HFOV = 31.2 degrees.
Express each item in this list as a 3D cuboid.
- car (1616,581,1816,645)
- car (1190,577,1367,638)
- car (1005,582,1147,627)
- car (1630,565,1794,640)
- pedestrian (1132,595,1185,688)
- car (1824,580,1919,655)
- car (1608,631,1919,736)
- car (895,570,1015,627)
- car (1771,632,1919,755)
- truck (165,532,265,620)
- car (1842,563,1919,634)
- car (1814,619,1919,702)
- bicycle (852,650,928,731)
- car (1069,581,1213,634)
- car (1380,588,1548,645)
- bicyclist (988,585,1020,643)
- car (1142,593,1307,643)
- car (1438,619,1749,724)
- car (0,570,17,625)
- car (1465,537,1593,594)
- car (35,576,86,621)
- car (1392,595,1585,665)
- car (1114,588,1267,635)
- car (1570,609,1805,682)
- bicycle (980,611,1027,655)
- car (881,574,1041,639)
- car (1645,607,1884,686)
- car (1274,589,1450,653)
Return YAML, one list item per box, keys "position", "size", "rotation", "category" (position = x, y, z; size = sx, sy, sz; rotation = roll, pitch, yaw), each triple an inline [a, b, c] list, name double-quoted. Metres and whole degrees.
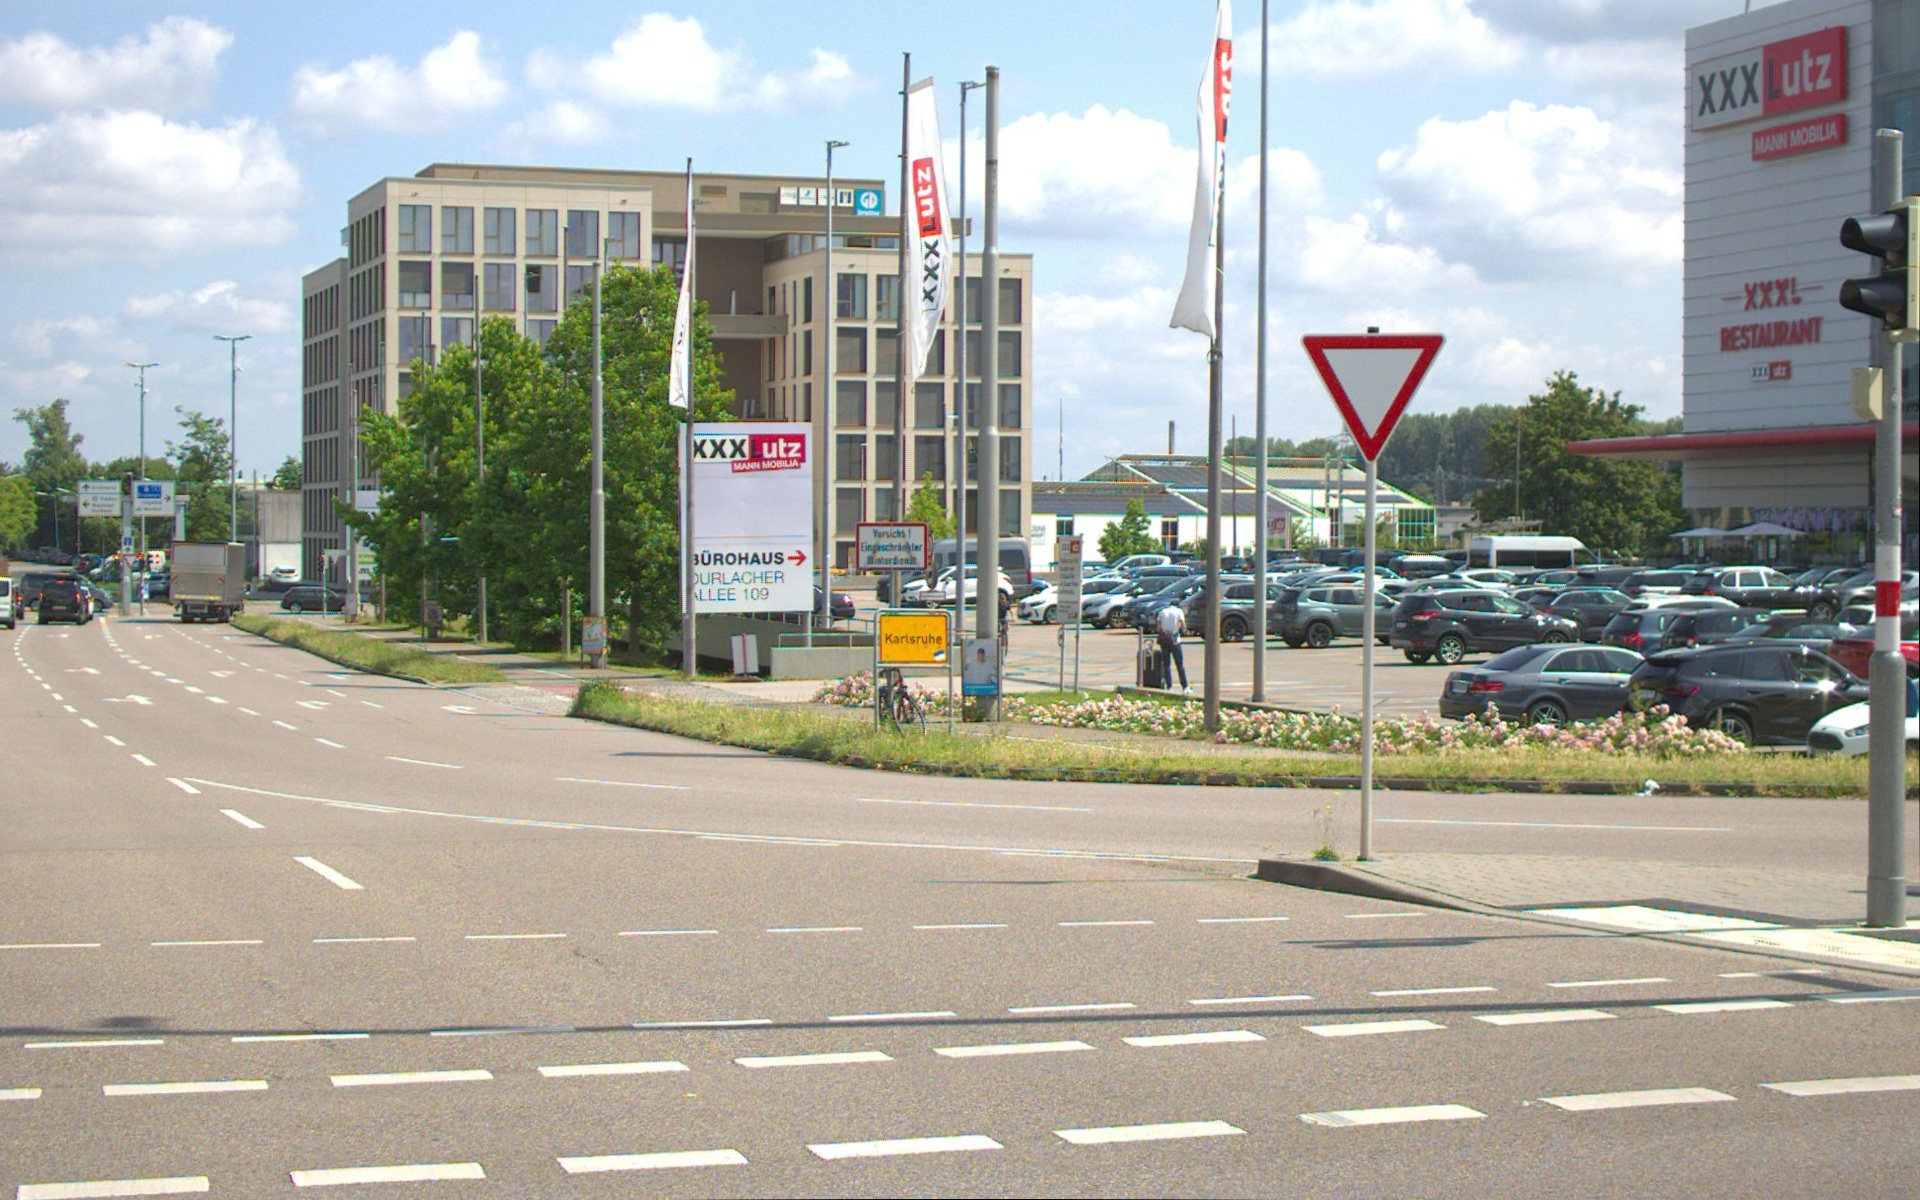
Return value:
- position: [17.968, 0.306, 81.701]
  size: [4.288, 1.422, 1.760]
  rotation: [0, 2, -16]
  category: "car"
- position: [8.676, 0.185, 93.826]
  size: [4.357, 1.569, 2.031]
  rotation: [-1, 1, -17]
  category: "car"
- position: [3.758, 0.133, 111.415]
  size: [4.182, 1.384, 1.893]
  rotation: [-1, 1, -19]
  category: "car"
- position: [21.195, 0.060, 96.899]
  size: [3.985, 2.007, 2.001]
  rotation: [1, 1, -16]
  category: "car"
- position: [3.894, 0.811, 67.494]
  size: [0.870, 1.776, 0.784]
  rotation: [1, 1, 14]
  category: "pedestrian"
- position: [20.505, 0.394, 72.275]
  size: [4.148, 1.503, 1.826]
  rotation: [1, 1, -16]
  category: "car"
- position: [11.573, 1.180, 48.610]
  size: [4.357, 1.412, 1.857]
  rotation: [1, 0, -16]
  category: "car"
- position: [-0.177, -0.053, 126.042]
  size: [3.986, 2.007, 2.001]
  rotation: [-1, 1, -16]
  category: "car"
- position: [12.740, 1.147, 43.807]
  size: [4.357, 1.435, 1.797]
  rotation: [-1, 1, -16]
  category: "car"
- position: [-34.906, -1.145, 161.386]
  size: [3.129, 3.927, 8.859]
  rotation: [1, 1, -3]
  category: "truck"
- position: [28.148, -0.033, 100.718]
  size: [3.985, 2.007, 2.001]
  rotation: [1, 1, -16]
  category: "car"
- position: [17.595, 1.043, 61.054]
  size: [4.357, 1.358, 1.847]
  rotation: [-1, 1, -14]
  category: "car"
- position: [-0.863, 1.095, 41.993]
  size: [0.517, 0.949, 1.544]
  rotation: [1, -1, -17]
  category: "bicycle"
- position: [5.633, 0.240, 106.899]
  size: [3.986, 1.565, 2.001]
  rotation: [1, 0, -18]
  category: "car"
- position: [14.013, 0.452, 95.603]
  size: [4.238, 1.459, 1.761]
  rotation: [1, 1, -17]
  category: "car"
- position: [1.100, 0.349, 85.462]
  size: [0.615, 1.408, 0.715]
  rotation: [0, 1, -16]
  category: "bicyclist"
- position: [7.590, 0.511, 98.704]
  size: [4.357, 1.320, 1.765]
  rotation: [-1, 1, -17]
  category: "car"
- position: [9.820, 1.088, 53.349]
  size: [4.357, 1.471, 1.857]
  rotation: [-1, 1, -14]
  category: "car"
- position: [-36.942, -0.137, 131.028]
  size: [1.855, 2.011, 4.001]
  rotation: [2, 1, -16]
  category: "car"
- position: [20.246, -1.239, 122.432]
  size: [3.985, 1.945, 2.001]
  rotation: [1, 1, -16]
  category: "car"
- position: [-38.096, -0.066, 145.675]
  size: [1.819, 1.802, 4.001]
  rotation: [2, 0, -11]
  category: "car"
- position: [12.205, 0.674, 79.478]
  size: [4.052, 1.526, 1.743]
  rotation: [-1, 1, -20]
  category: "car"
- position: [6.814, 0.328, 101.705]
  size: [4.182, 1.320, 1.688]
  rotation: [-1, 1, -16]
  category: "car"
- position: [14.899, 0.920, 70.453]
  size: [4.357, 1.357, 1.847]
  rotation: [-1, 2, -14]
  category: "car"
- position: [1.079, 0.811, 85.491]
  size: [0.623, 1.064, 1.968]
  rotation: [0, 1, -16]
  category: "bicycle"
- position: [0.033, 0.244, 130.347]
  size: [5.656, 2.358, 2.062]
  rotation: [1, -1, -18]
  category: "car"
- position: [15.981, 0.904, 68.312]
  size: [4.357, 1.437, 1.627]
  rotation: [-1, 2, -14]
  category: "car"
- position: [10.428, 0.533, 89.276]
  size: [4.181, 1.547, 1.765]
  rotation: [-1, 1, -17]
  category: "car"
